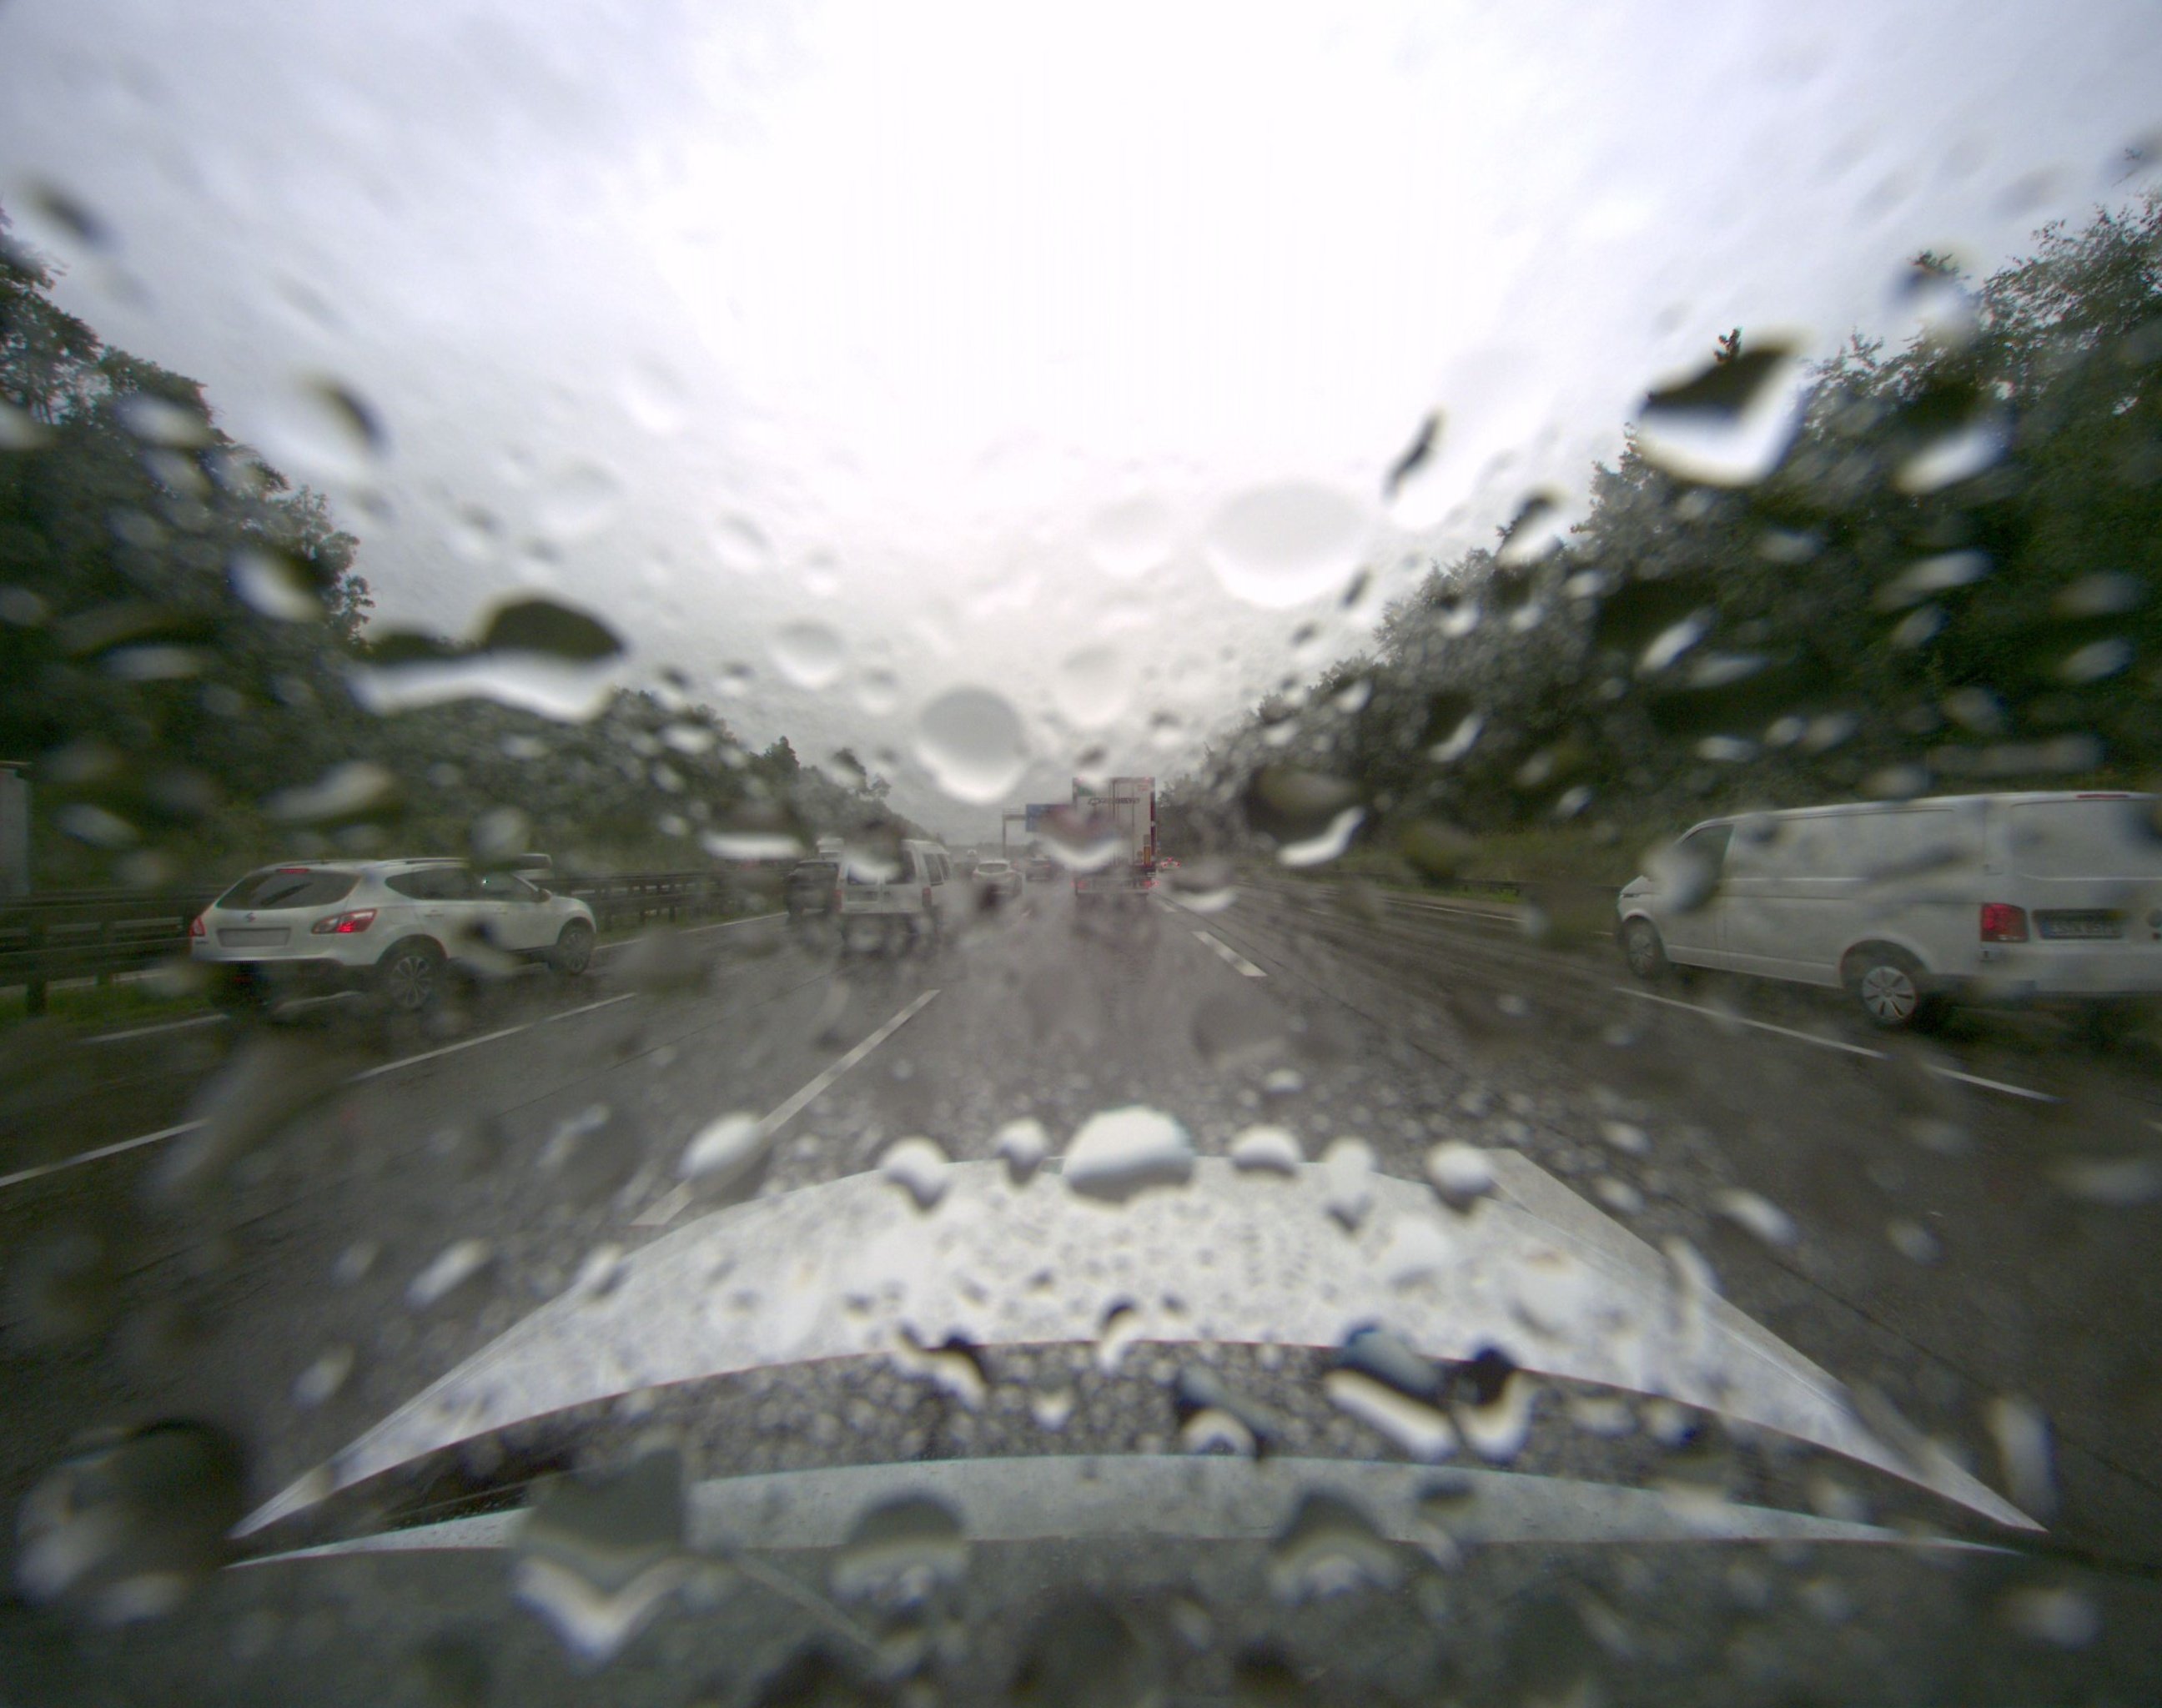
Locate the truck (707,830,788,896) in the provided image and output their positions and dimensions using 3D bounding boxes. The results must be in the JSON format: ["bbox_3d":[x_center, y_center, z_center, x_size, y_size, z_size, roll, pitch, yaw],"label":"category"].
[{"bbox_3d":[-21.499,0.539,52.857,2.368,3.954,6.538,-2,0,1],"label":"truck"}]

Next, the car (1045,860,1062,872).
[{"bbox_3d":[-3.202,1.343,94.998,1.839,1.330,4.466,-1,0,0],"label":"car"}]

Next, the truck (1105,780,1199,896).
[{"bbox_3d":[2.505,-0.455,30.848,2.860,3.562,11.310,-1,-1,3],"label":"truck"}]

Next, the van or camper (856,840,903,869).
[{"bbox_3d":[-21.858,0.100,88.951,2.832,2.978,8.787,-1,0,1],"label":"van or camper"}]

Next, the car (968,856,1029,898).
[{"bbox_3d":[-3.342,0.918,33.683,1.837,1.591,4.076,-1,0,4],"label":"car"}]

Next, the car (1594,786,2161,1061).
[{"bbox_3d":[7.591,0.476,8.105,1.983,1.921,4.767,-1,0,0],"label":"car"}]

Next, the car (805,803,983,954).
[{"bbox_3d":[-3.540,0.417,16.561,2.204,2.573,5.019,-1,0,3],"label":"car"}]

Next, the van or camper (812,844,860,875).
[{"bbox_3d":[-21.281,0.439,70.981,2.190,2.547,6.120,-2,0,1],"label":"van or camper"}]

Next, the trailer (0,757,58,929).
[{"bbox_3d":[-26.344,-0.234,12.769,2.710,3.954,13.963,-2,0,1],"label":"trailer"}]

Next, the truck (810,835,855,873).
[{"bbox_3d":[-26.038,-0.040,85.477,2.695,3.818,6.264,-1,0,0],"label":"truck"}]

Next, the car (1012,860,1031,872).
[{"bbox_3d":[-7.102,1.467,97.211,1.839,1.330,4.466,-1,0,0],"label":"car"}]

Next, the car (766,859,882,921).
[{"bbox_3d":[-7.296,0.963,23.652,1.839,1.591,4.468,-1,0,1],"label":"car"}]

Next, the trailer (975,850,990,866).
[{"bbox_3d":[-25.742,1.046,213.174,2.533,4.025,13.843,0,0,-1],"label":"trailer"}]

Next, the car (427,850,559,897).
[{"bbox_3d":[-24.278,0.743,33.897,1.989,1.770,5.033,-2,0,-3],"label":"car"}]

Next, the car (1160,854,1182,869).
[{"bbox_3d":[8.718,0.714,79.374,1.784,1.407,4.229,-1,0,1],"label":"car"}]

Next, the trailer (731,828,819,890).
[{"bbox_3d":[-21.404,0.318,57.551,2.368,3.954,9.424,-2,0,1],"label":"trailer"}]

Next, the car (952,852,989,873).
[{"bbox_3d":[-7.410,0.517,54.925,1.839,1.330,4.466,-1,0,0],"label":"car"}]

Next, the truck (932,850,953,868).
[{"bbox_3d":[-28.497,0.983,167.981,2.512,3.483,11.714,-1,0,-1],"label":"truck"}]

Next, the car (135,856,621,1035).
[{"bbox_3d":[-7.686,0.840,9.680,1.839,1.591,4.467,-1,0,1],"label":"car"}]

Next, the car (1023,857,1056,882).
[{"bbox_3d":[-2.819,1.033,56.664,1.838,1.591,4.469,-1,0,3],"label":"car"}]

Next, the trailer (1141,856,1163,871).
[{"bbox_3d":[8.660,1.107,99.910,2.236,1.714,5.081,-1,0,0],"label":"trailer"}]
